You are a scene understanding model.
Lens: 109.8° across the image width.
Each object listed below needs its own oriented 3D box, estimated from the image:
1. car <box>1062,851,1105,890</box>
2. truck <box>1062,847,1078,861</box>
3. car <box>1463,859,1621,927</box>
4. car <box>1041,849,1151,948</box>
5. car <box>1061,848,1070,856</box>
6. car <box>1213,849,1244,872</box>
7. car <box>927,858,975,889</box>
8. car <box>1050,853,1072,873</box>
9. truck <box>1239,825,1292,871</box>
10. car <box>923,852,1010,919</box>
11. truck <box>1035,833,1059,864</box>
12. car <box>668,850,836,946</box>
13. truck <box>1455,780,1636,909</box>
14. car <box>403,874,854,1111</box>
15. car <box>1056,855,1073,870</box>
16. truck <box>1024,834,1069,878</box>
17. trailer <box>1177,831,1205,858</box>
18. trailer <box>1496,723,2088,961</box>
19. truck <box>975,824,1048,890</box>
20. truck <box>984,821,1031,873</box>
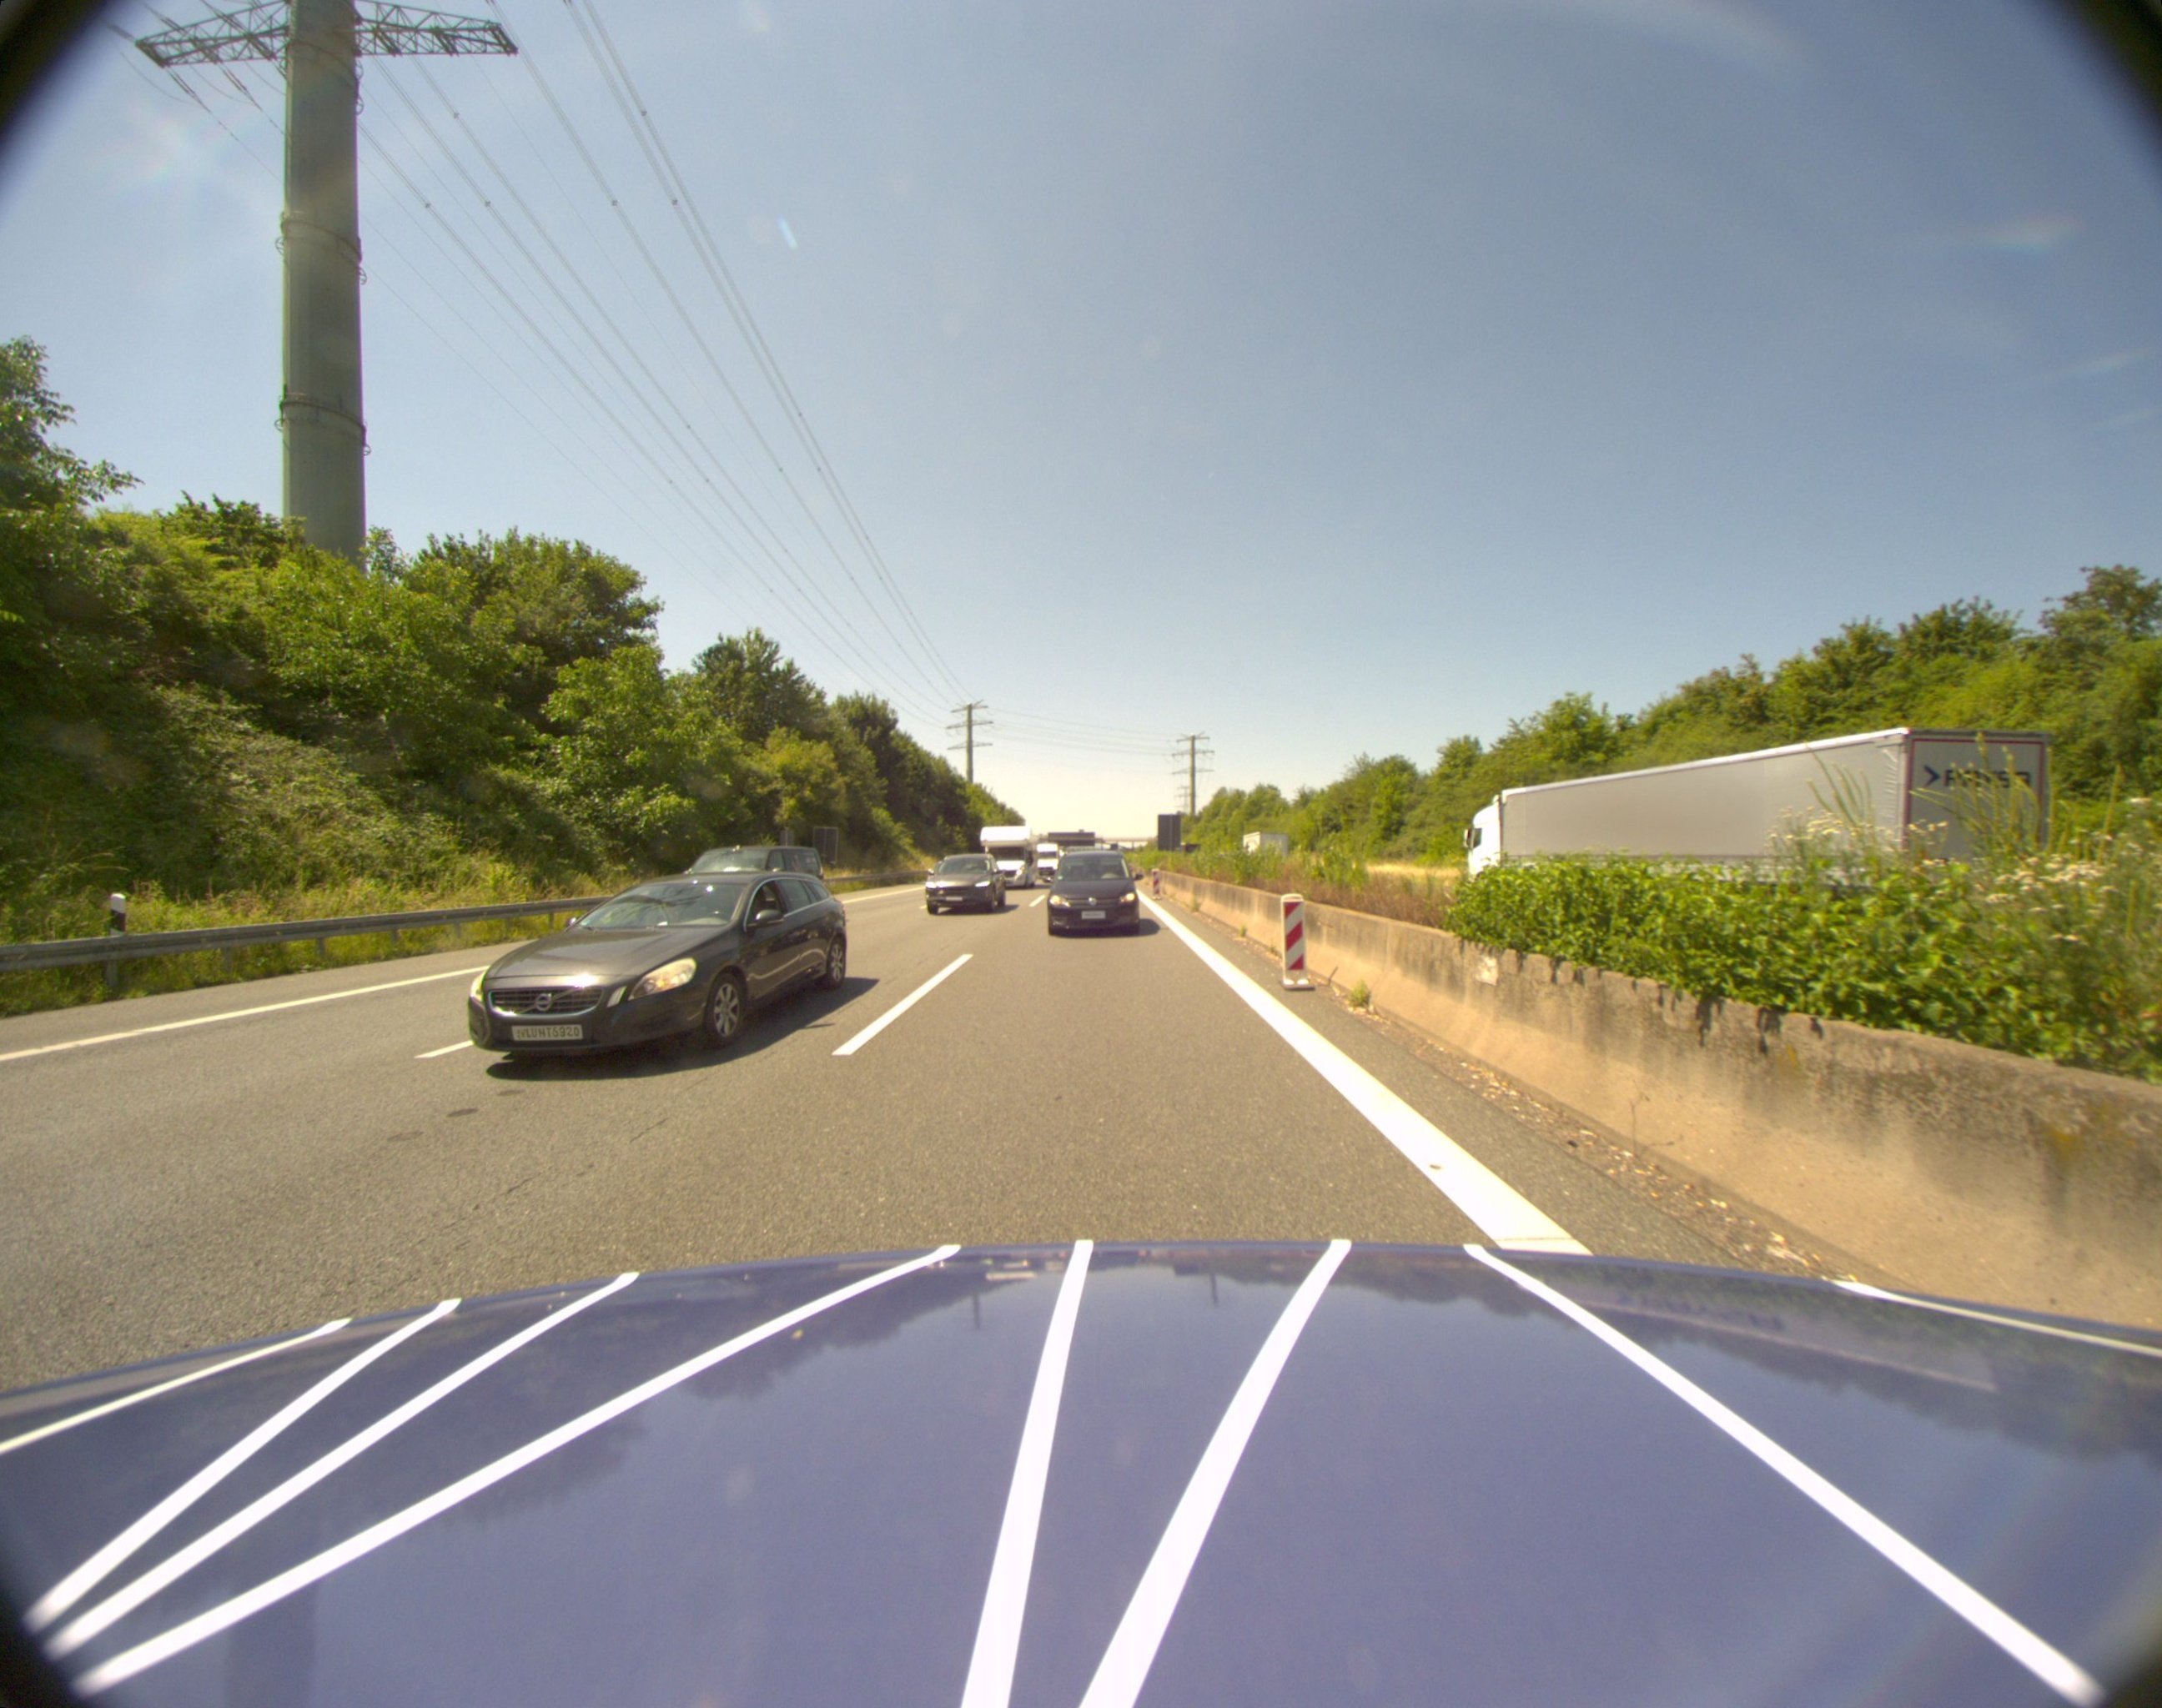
[{"bbox_3d":[0.136,0.727,36.724,1.892,1.693,4.383,-2,1,0],"label":"car"},{"bbox_3d":[-1.836,-0.097,128.437,2.408,2.203,6.744,-2,0,2],"label":"truck"},{"bbox_3d":[11.759,0.920,19.711,1.707,1.524,4.000,0,0,1],"label":"car"},{"bbox_3d":[0.256,0.767,15.568,1.892,1.693,4.383,-2,1,0],"label":"car"},{"bbox_3d":[-3.979,-0.597,198.022,1.998,2.002,4.000,-2,1,1],"label":"car"},{"bbox_3d":[13.284,0.574,68.885,1.944,1.878,4.428,3,1,1],"label":"car"},{"bbox_3d":[-6.644,0.982,39.119,1.800,1.429,3.731,-2,1,0],"label":"car"},{"bbox_3d":[-1.794,0.777,69.832,1.892,1.693,4.383,-2,1,0],"label":"car"},{"bbox_3d":[17.050,-0.566,70.860,2.769,3.866,9.029,2,1,1],"label":"truck"},{"bbox_3d":[-3.262,0.836,22.465,1.892,1.693,4.383,-2,1,0],"label":"car"},{"bbox_3d":[-4.887,-0.802,111.396,2.655,4.128,11.661,-2,0,1],"label":"truck"},{"bbox_3d":[-7.466,0.883,17.859,1.788,1.893,4.698,-2,1,1],"label":"car"},{"bbox_3d":[16.740,-0.317,27.976,3.024,4.143,5.805,2,1,1],"label":"truck"},{"bbox_3d":[-3.743,1.013,7.350,1.800,1.429,4.230,-2,0,0],"label":"car"},{"bbox_3d":[-2.025,0.986,93.995,1.892,1.693,4.383,-2,1,0],"label":"car"},{"bbox_3d":[-2.508,0.084,58.063,2.514,2.997,9.898,-2,0,2],"label":"truck"},{"bbox_3d":[18.485,-1.563,128.899,2.759,4.143,14.196,2,0,1],"label":"trailer"},{"bbox_3d":[16.550,-0.257,20.631,3.024,4.143,14.020,2,0,1],"label":"trailer"},{"bbox_3d":[-3.420,0.099,40.114,2.514,2.997,9.898,-2,0,2],"label":"truck"},{"bbox_3d":[-6.347,-0.606,67.670,2.655,4.128,11.661,-2,0,1],"label":"truck"}]
